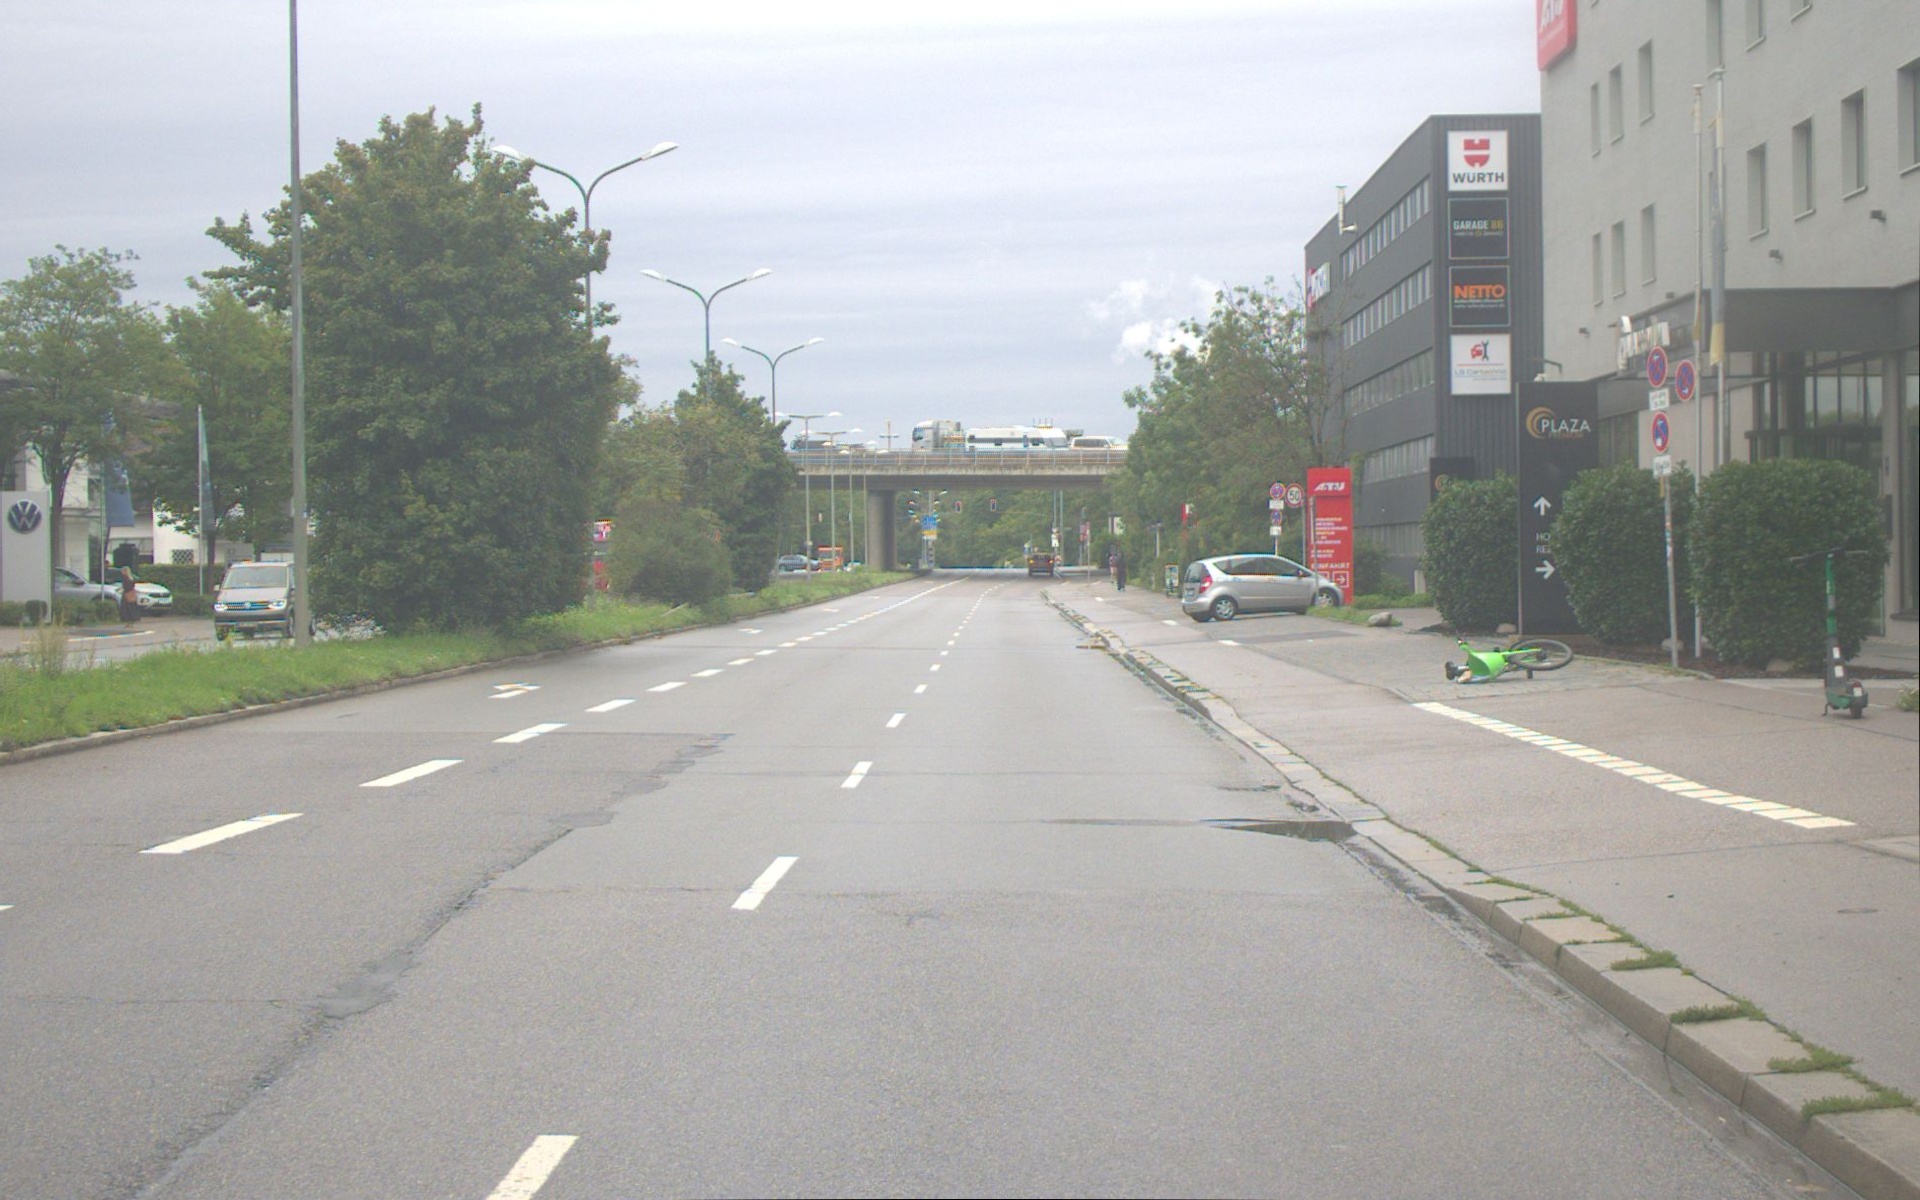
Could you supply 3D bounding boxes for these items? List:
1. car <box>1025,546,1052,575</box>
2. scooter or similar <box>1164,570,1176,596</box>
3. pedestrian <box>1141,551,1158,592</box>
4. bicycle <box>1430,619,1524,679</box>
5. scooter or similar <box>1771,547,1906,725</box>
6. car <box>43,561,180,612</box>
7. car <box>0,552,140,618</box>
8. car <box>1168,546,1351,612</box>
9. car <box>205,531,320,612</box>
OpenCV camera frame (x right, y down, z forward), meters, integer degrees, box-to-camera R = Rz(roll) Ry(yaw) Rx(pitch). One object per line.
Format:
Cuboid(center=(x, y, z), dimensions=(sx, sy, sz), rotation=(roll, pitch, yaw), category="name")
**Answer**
Cuboid(center=(5.655, -2.856, 247.751), dimensions=(1.812, 2.007, 3.833), rotation=(1, 1, 2), category="car")
Cuboid(center=(8.196, -0.653, 134.301), dimensions=(0.304, 1.000, 1.220), rotation=(-2, 1, -2), category="scooter or similar")
Cuboid(center=(8.696, -1.294, 157.547), dimensions=(0.689, 1.870, 0.662), rotation=(-2, 1, 0), category="pedestrian")
Cuboid(center=(5.516, 0.513, 36.766), dimensions=(0.720, 0.547, 1.732), rotation=(-4, 1, 1), category="bicycle")
Cuboid(center=(6.696, 0.256, 26.251), dimensions=(0.585, 1.273, 1.404), rotation=(-5, 1, 1), category="scooter or similar")
Cuboid(center=(-27.665, -0.440, 112.102), dimensions=(3.991, 1.504, 1.799), rotation=(-2, 1, 22), category="car")
Cuboid(center=(-27.166, -0.433, 103.280), dimensions=(4.630, 1.836, 1.801), rotation=(-2, 1, -22), category="car")
Cuboid(center=(7.200, -0.504, 82.738), dimensions=(4.012, 1.552, 1.821), rotation=(0, 1, -16), category="car")
Cuboid(center=(-17.709, -0.741, 87.450), dimensions=(1.993, 1.954, 4.325), rotation=(-2, 1, 0), category="car")
